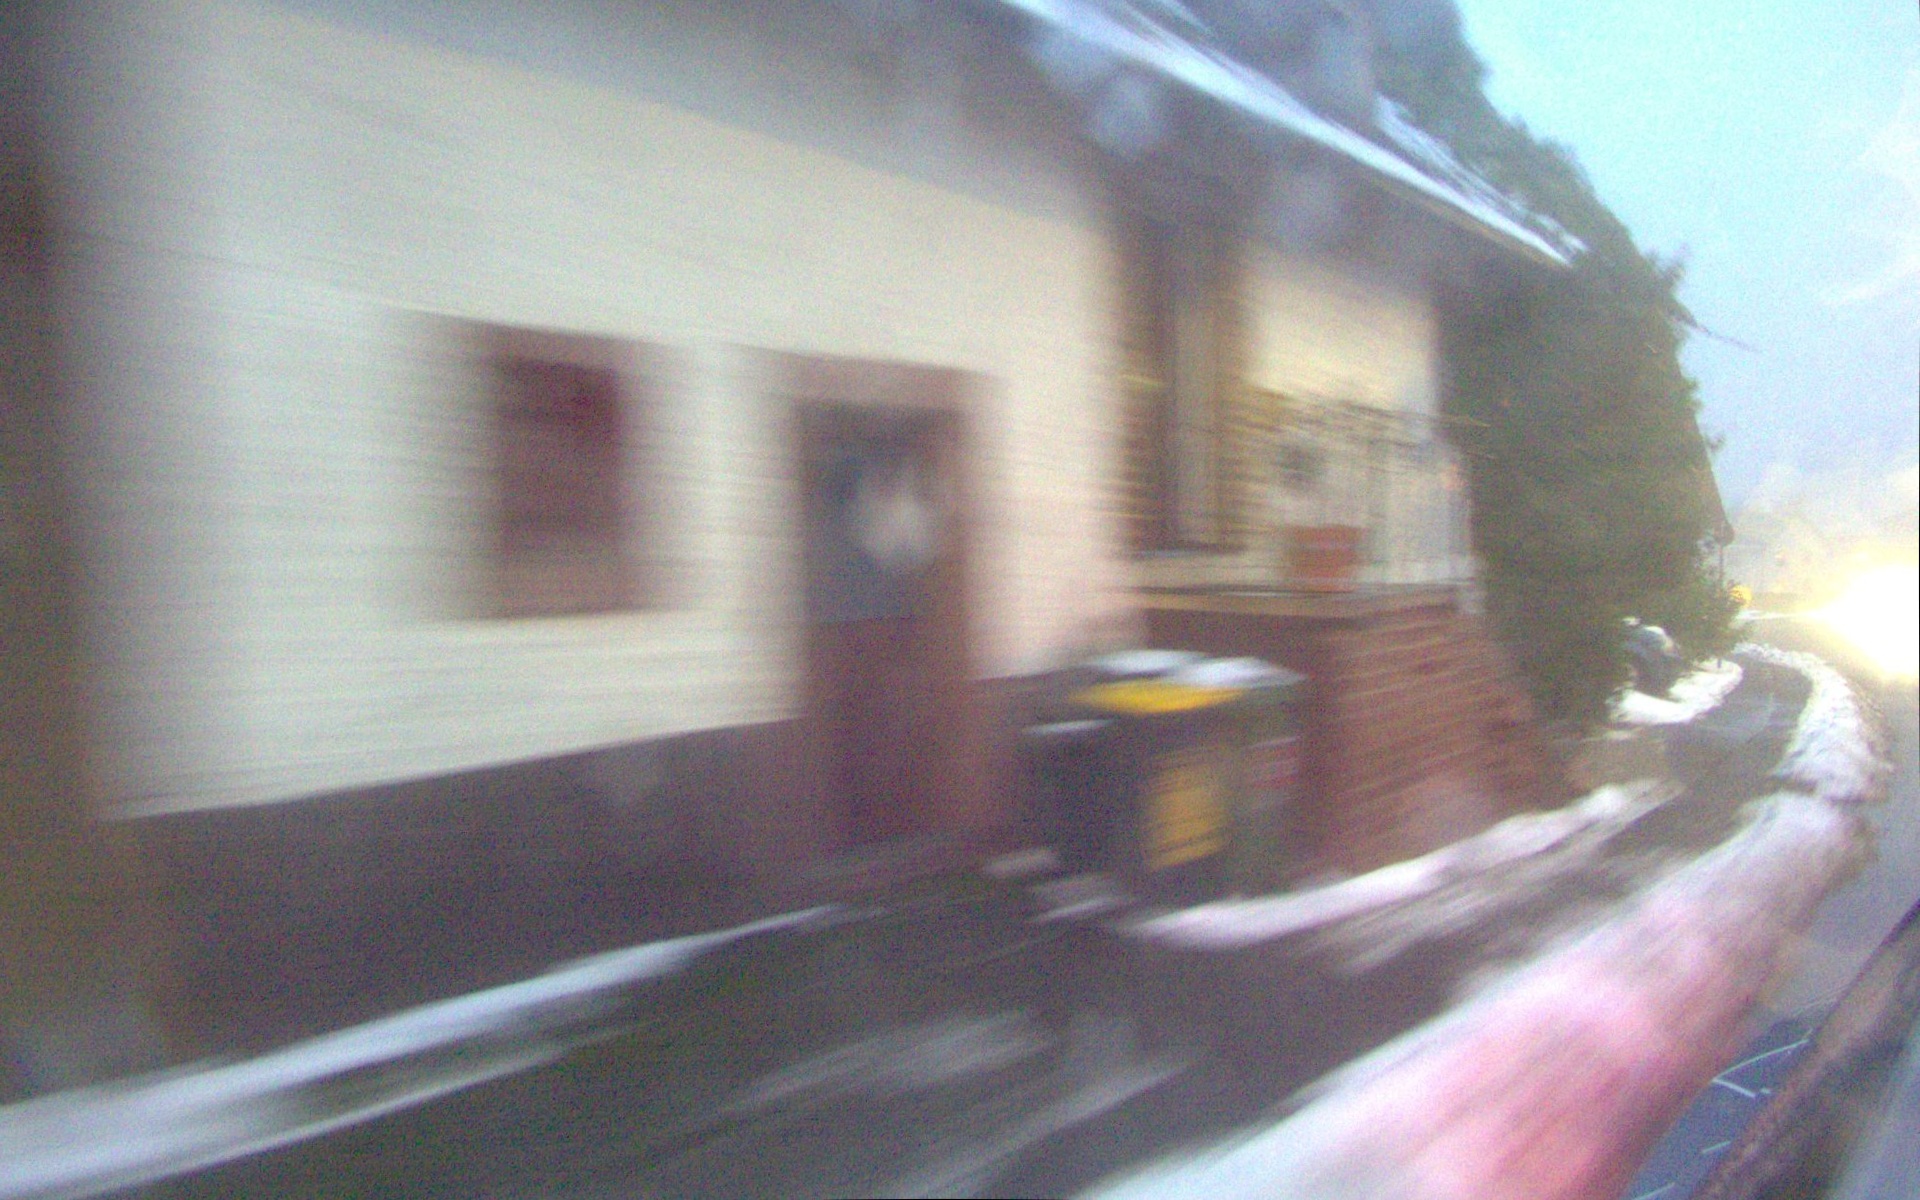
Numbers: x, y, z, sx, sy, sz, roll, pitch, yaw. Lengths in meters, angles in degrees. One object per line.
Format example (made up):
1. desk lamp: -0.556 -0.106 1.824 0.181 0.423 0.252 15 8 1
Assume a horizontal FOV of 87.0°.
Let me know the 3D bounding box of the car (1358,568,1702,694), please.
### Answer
1. car: 7.883 0.412 14.345 3.964 1.556 1.980 -1 -1 29
